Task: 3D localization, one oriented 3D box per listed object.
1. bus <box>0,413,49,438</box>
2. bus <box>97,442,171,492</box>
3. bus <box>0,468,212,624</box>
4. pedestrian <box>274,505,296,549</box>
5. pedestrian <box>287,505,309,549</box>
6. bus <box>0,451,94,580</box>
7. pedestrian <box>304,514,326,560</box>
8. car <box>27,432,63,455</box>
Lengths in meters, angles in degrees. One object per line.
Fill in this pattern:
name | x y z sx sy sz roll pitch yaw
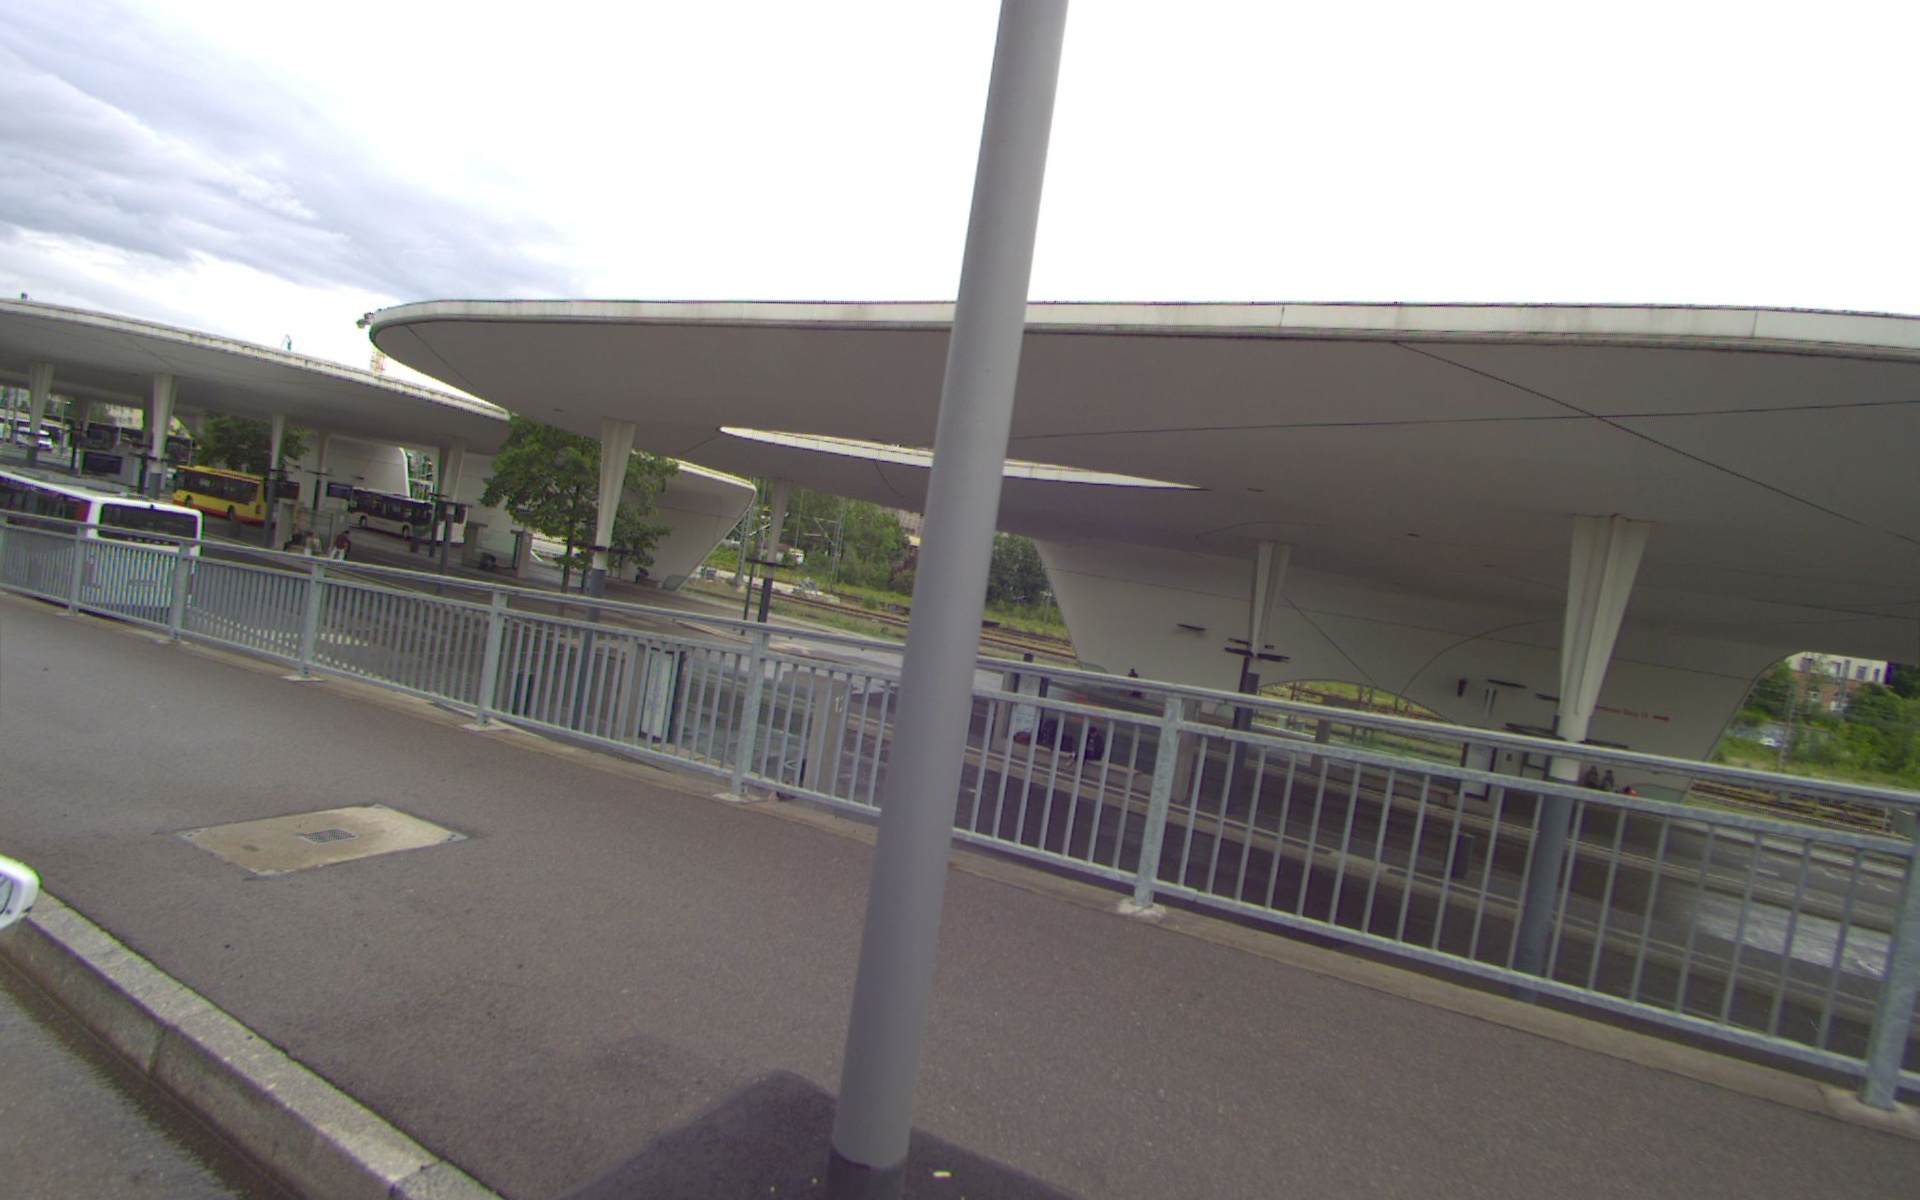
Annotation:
bus | -116.935 -21.649 121.425 2.132 2.039 10.184 8 1 29
bus | -67.047 -10.804 81.588 6.879 3.251 2.601 9 2 34
bus | -24.345 -1.577 28.106 6.948 3.279 2.650 10 3 28
pedestrian | -33.015 -3.551 49.187 0.570 2.039 0.544 8 2 32
pedestrian | -31.836 -3.494 48.376 0.570 2.039 0.544 8 2 32
bus | -30.408 -2.894 31.390 6.948 3.279 2.650 11 3 28
pedestrian | -30.091 -2.929 46.931 0.475 2.039 0.560 8 2 34
car | -106.022 -18.118 116.554 3.933 2.040 1.995 9 2 31
